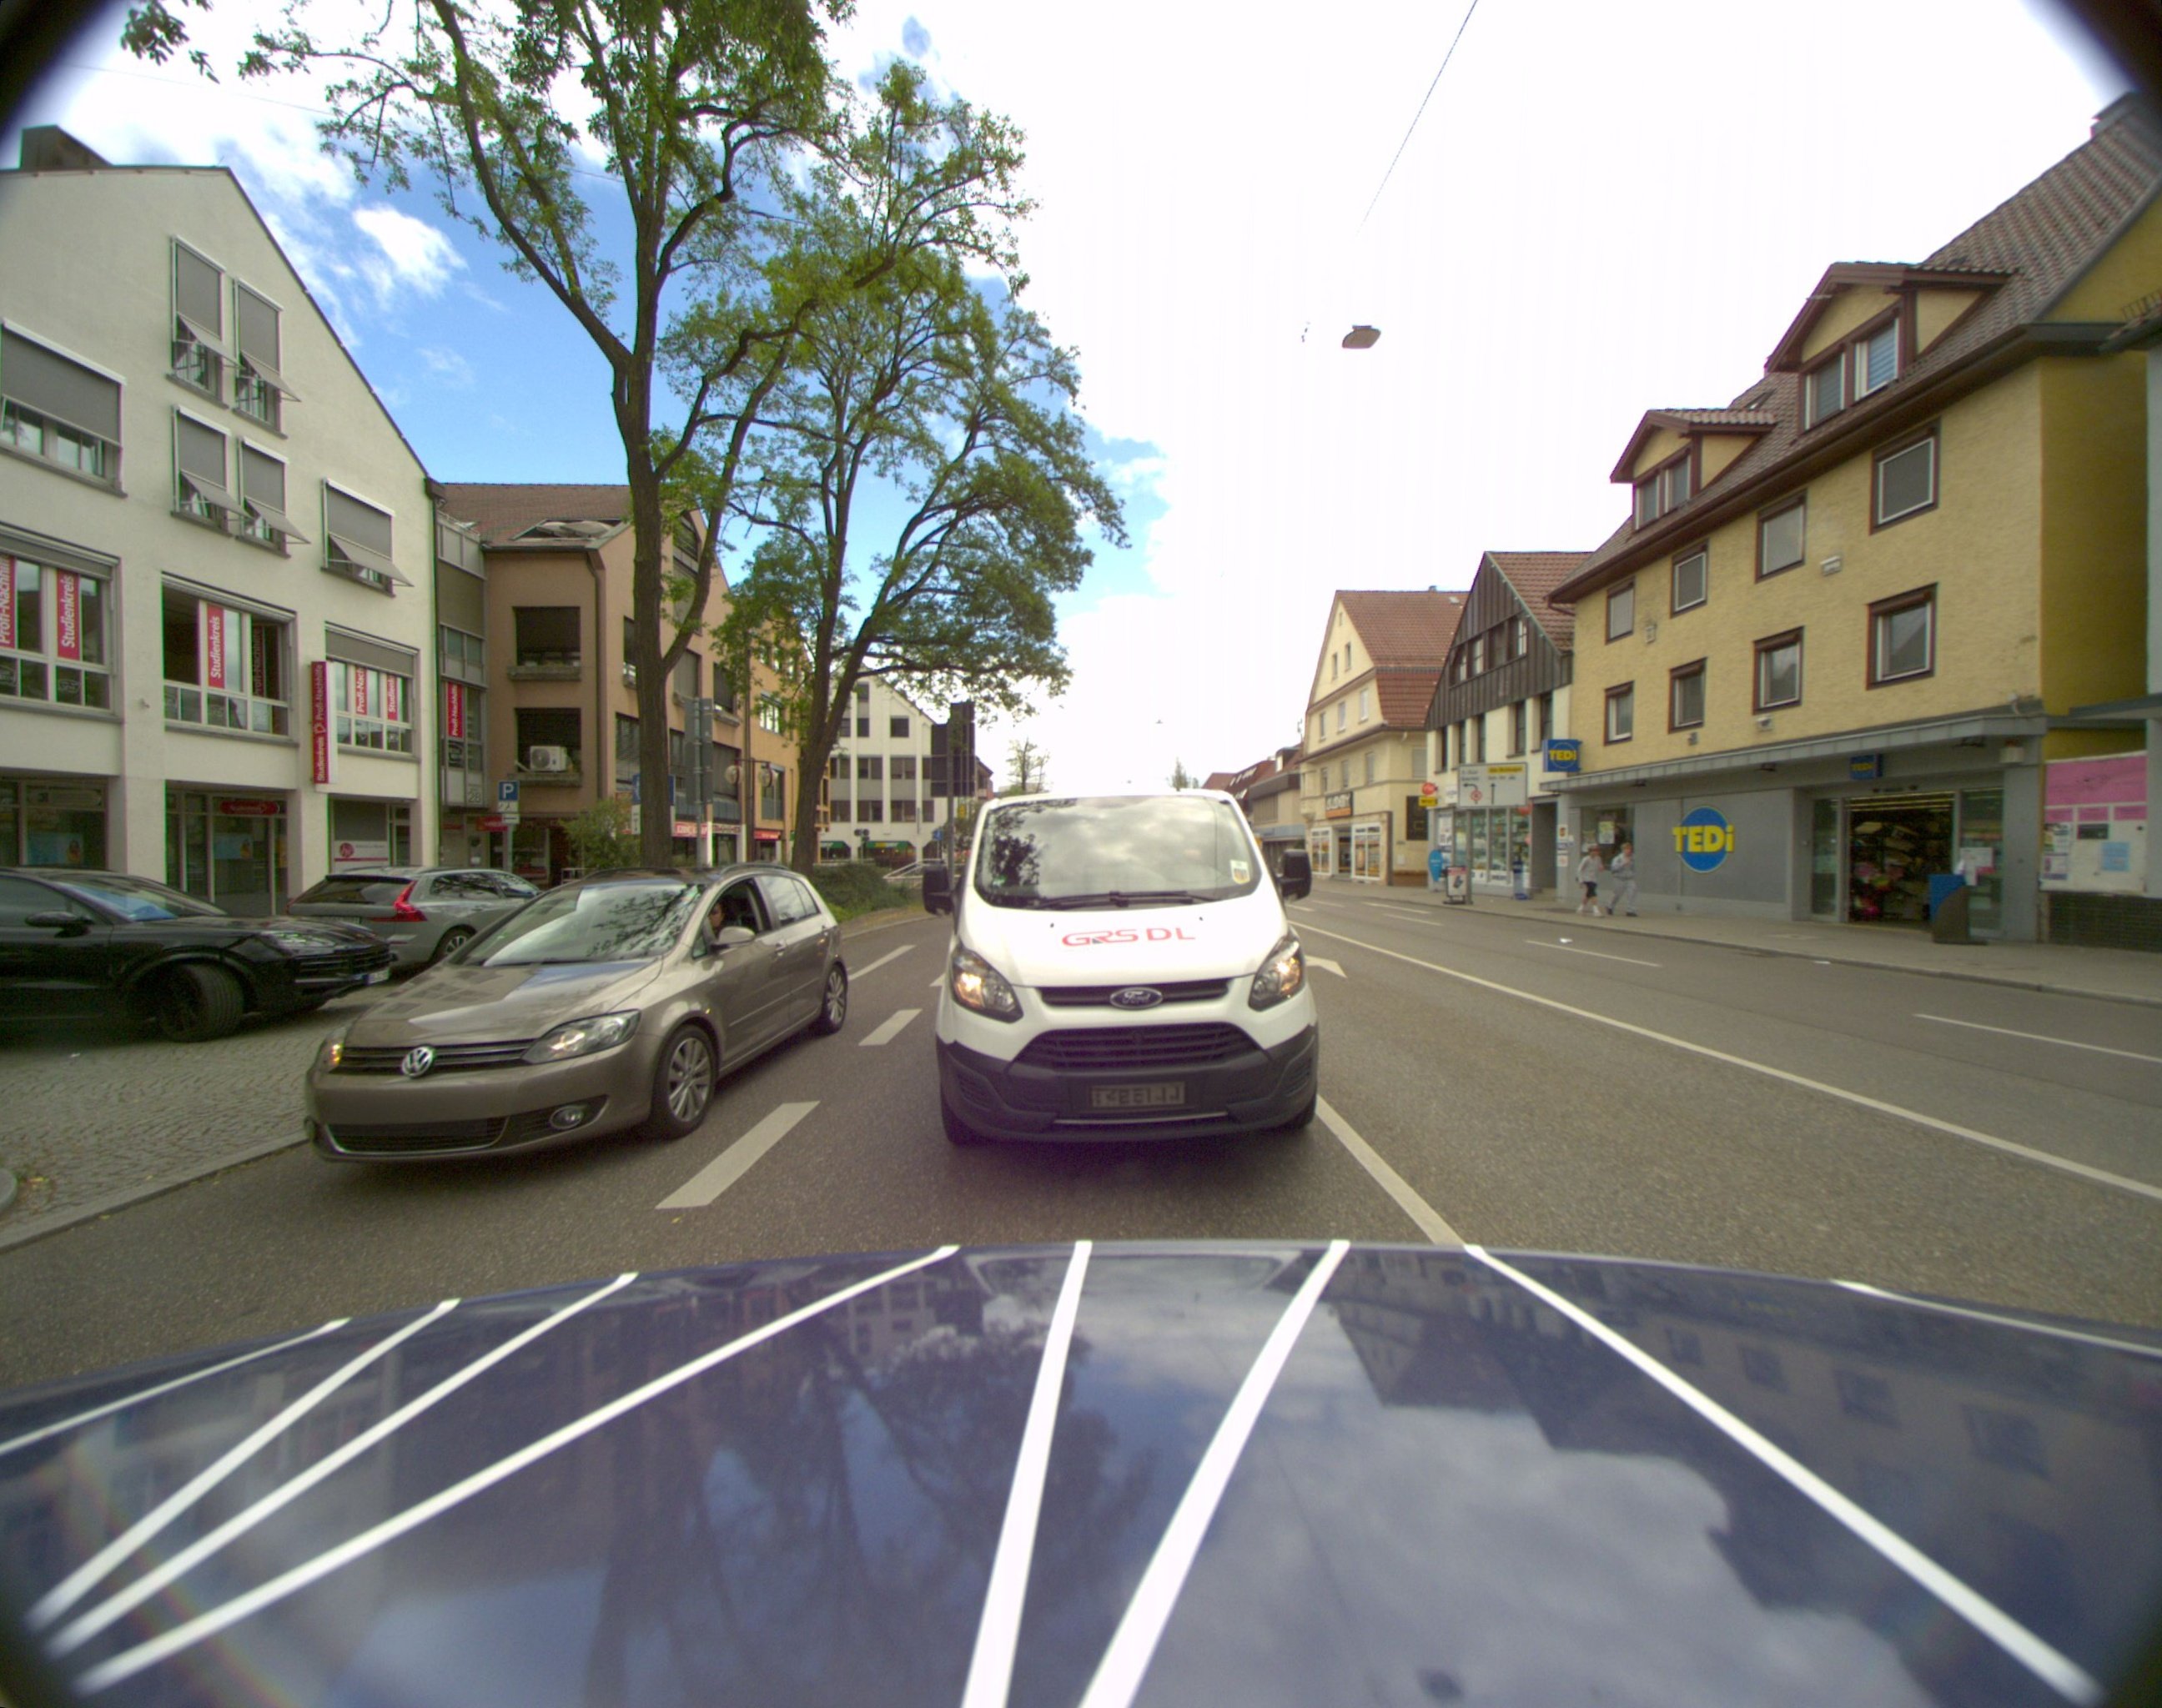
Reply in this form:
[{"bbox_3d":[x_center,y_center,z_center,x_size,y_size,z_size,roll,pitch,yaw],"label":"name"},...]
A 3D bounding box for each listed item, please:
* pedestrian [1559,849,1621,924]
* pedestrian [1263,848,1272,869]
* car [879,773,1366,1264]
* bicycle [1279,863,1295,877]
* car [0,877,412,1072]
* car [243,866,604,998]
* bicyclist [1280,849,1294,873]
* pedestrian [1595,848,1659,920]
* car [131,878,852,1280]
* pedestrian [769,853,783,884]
[{"bbox_3d":[11.522,0.718,17.229,0.812,1.651,0.920,-1,1,1],"label":"pedestrian"},{"bbox_3d":[17.191,0.416,69.975,0.673,1.891,0.678,0,1,1],"label":"pedestrian"},{"bbox_3d":[0.214,0.684,6.044,1.940,1.968,5.779,-2,0,1],"label":"car"},{"bbox_3d":[12.378,0.967,45.762,0.772,0.818,2.242,0,0,11],"label":"bicycle"},{"bbox_3d":[-10.046,1.083,7.500,4.759,1.669,1.996,1,-1,-23],"label":"car"},{"bbox_3d":[-10.320,1.091,12.601,1.999,1.645,4.752,1,1,-3],"label":"car"},{"bbox_3d":[12.377,0.437,45.729,0.772,1.415,0.752,0,1,11],"label":"bicyclist"},{"bbox_3d":[12.366,0.663,17.234,0.812,1.574,0.920,-1,1,1],"label":"pedestrian"},{"bbox_3d":[-3.108,1.022,5.241,1.801,1.521,4.000,-2,0,0],"label":"car"},{"bbox_3d":[-15.838,0.763,39.498,0.493,1.615,0.504,0,1,5],"label":"pedestrian"}]
